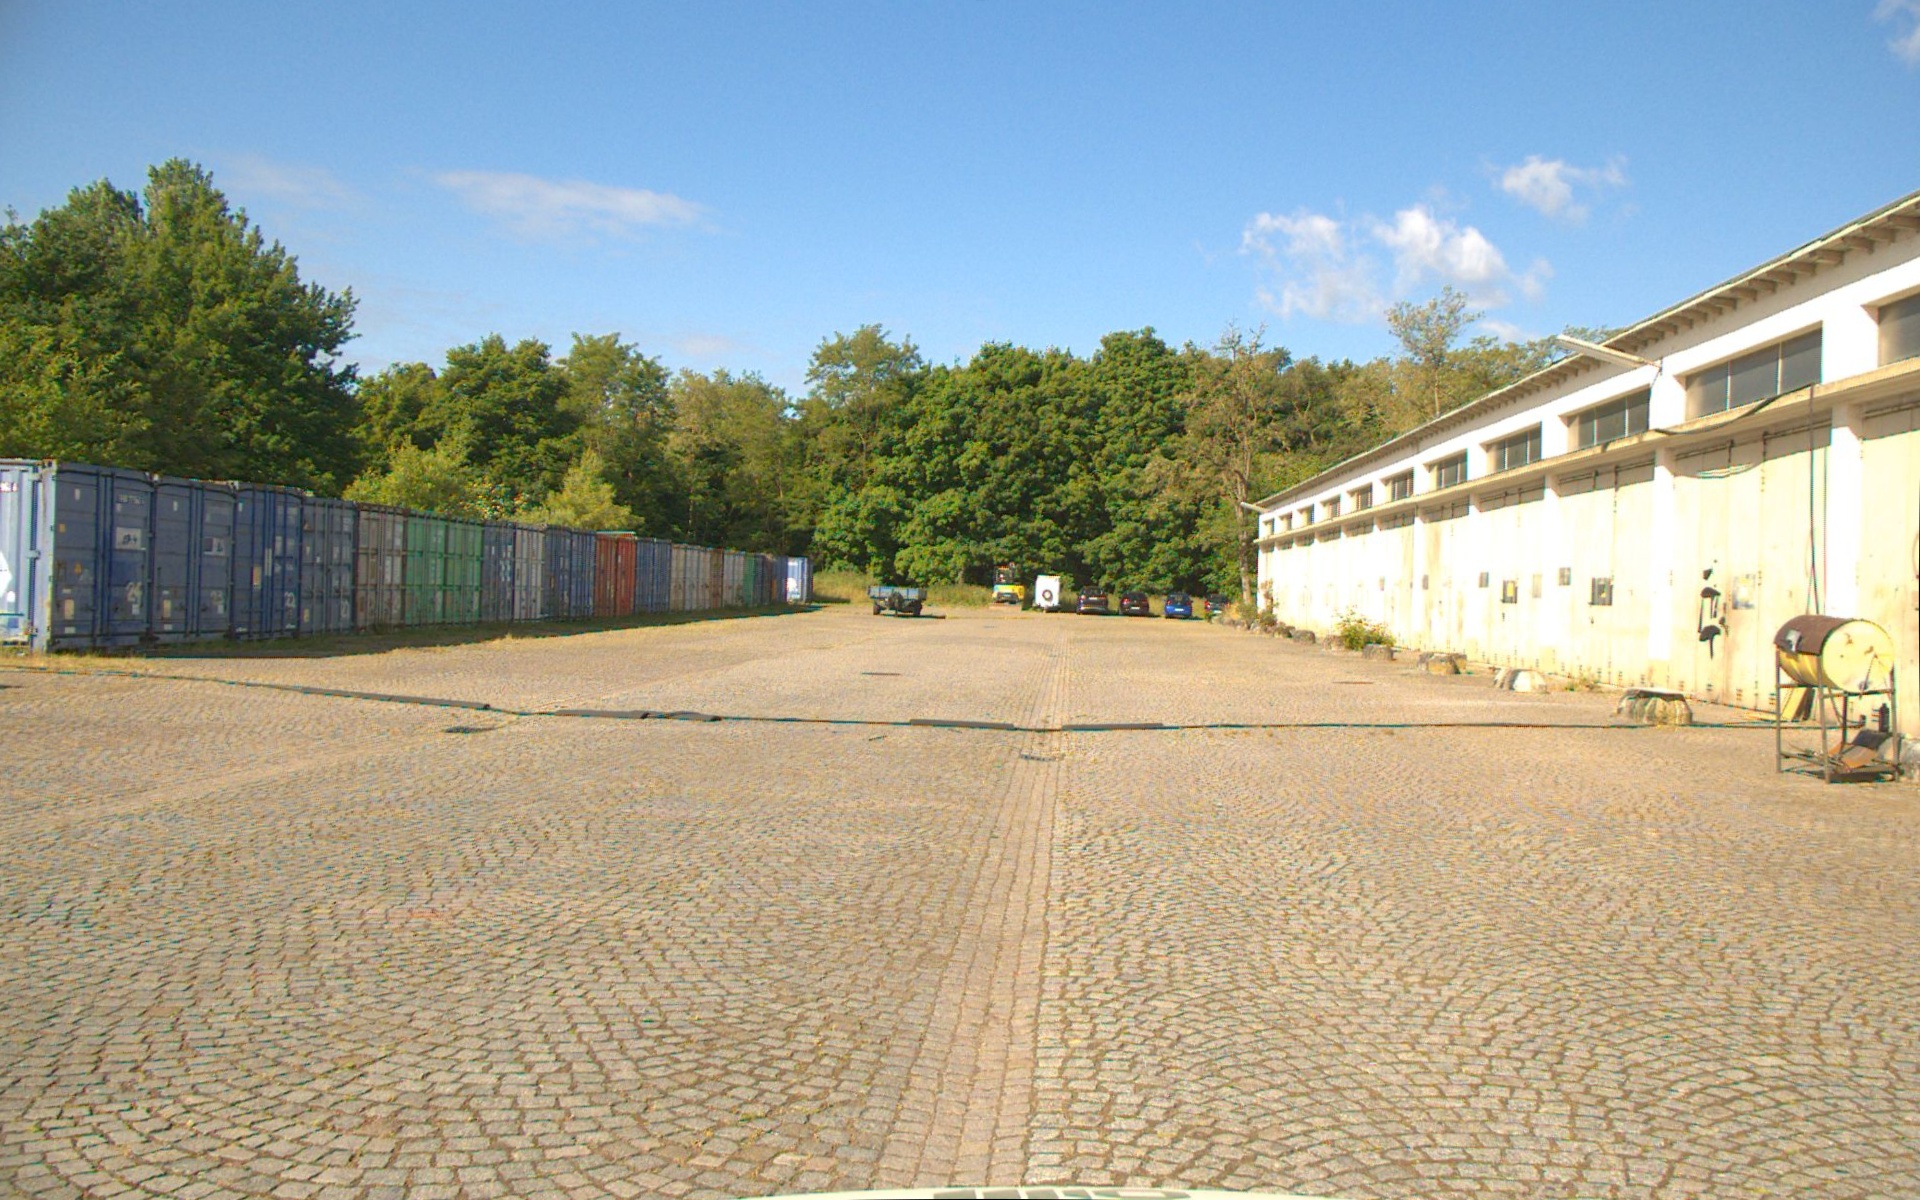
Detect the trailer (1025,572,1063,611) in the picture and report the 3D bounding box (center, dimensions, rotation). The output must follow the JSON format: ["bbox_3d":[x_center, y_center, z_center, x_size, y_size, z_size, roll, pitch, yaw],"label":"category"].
[{"bbox_3d":[5.091,-0.539,99.995,2.147,2.131,5.754,3,2,3],"label":"trailer"}]

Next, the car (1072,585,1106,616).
[{"bbox_3d":[7.569,0.006,97.458,1.825,1.616,4.298,3,2,3],"label":"car"}]

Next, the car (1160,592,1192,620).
[{"bbox_3d":[12.719,0.315,97.443,1.707,1.461,4.187,3,2,9],"label":"car"}]

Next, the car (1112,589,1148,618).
[{"bbox_3d":[10.020,0.198,97.674,1.825,1.495,4.298,3,2,3],"label":"car"}]

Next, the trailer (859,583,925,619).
[{"bbox_3d":[-3.248,0.019,80.380,2.649,1.491,6.250,3,1,2],"label":"trailer"}]

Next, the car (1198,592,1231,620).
[{"bbox_3d":[15.206,0.342,98.699,1.707,1.461,4.187,3,2,10],"label":"car"}]

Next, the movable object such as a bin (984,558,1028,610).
[{"bbox_3d":[2.815,-1.016,100.730,2.258,2.946,5.755,3,2,4],"label":"movable object such as a bin"}]
